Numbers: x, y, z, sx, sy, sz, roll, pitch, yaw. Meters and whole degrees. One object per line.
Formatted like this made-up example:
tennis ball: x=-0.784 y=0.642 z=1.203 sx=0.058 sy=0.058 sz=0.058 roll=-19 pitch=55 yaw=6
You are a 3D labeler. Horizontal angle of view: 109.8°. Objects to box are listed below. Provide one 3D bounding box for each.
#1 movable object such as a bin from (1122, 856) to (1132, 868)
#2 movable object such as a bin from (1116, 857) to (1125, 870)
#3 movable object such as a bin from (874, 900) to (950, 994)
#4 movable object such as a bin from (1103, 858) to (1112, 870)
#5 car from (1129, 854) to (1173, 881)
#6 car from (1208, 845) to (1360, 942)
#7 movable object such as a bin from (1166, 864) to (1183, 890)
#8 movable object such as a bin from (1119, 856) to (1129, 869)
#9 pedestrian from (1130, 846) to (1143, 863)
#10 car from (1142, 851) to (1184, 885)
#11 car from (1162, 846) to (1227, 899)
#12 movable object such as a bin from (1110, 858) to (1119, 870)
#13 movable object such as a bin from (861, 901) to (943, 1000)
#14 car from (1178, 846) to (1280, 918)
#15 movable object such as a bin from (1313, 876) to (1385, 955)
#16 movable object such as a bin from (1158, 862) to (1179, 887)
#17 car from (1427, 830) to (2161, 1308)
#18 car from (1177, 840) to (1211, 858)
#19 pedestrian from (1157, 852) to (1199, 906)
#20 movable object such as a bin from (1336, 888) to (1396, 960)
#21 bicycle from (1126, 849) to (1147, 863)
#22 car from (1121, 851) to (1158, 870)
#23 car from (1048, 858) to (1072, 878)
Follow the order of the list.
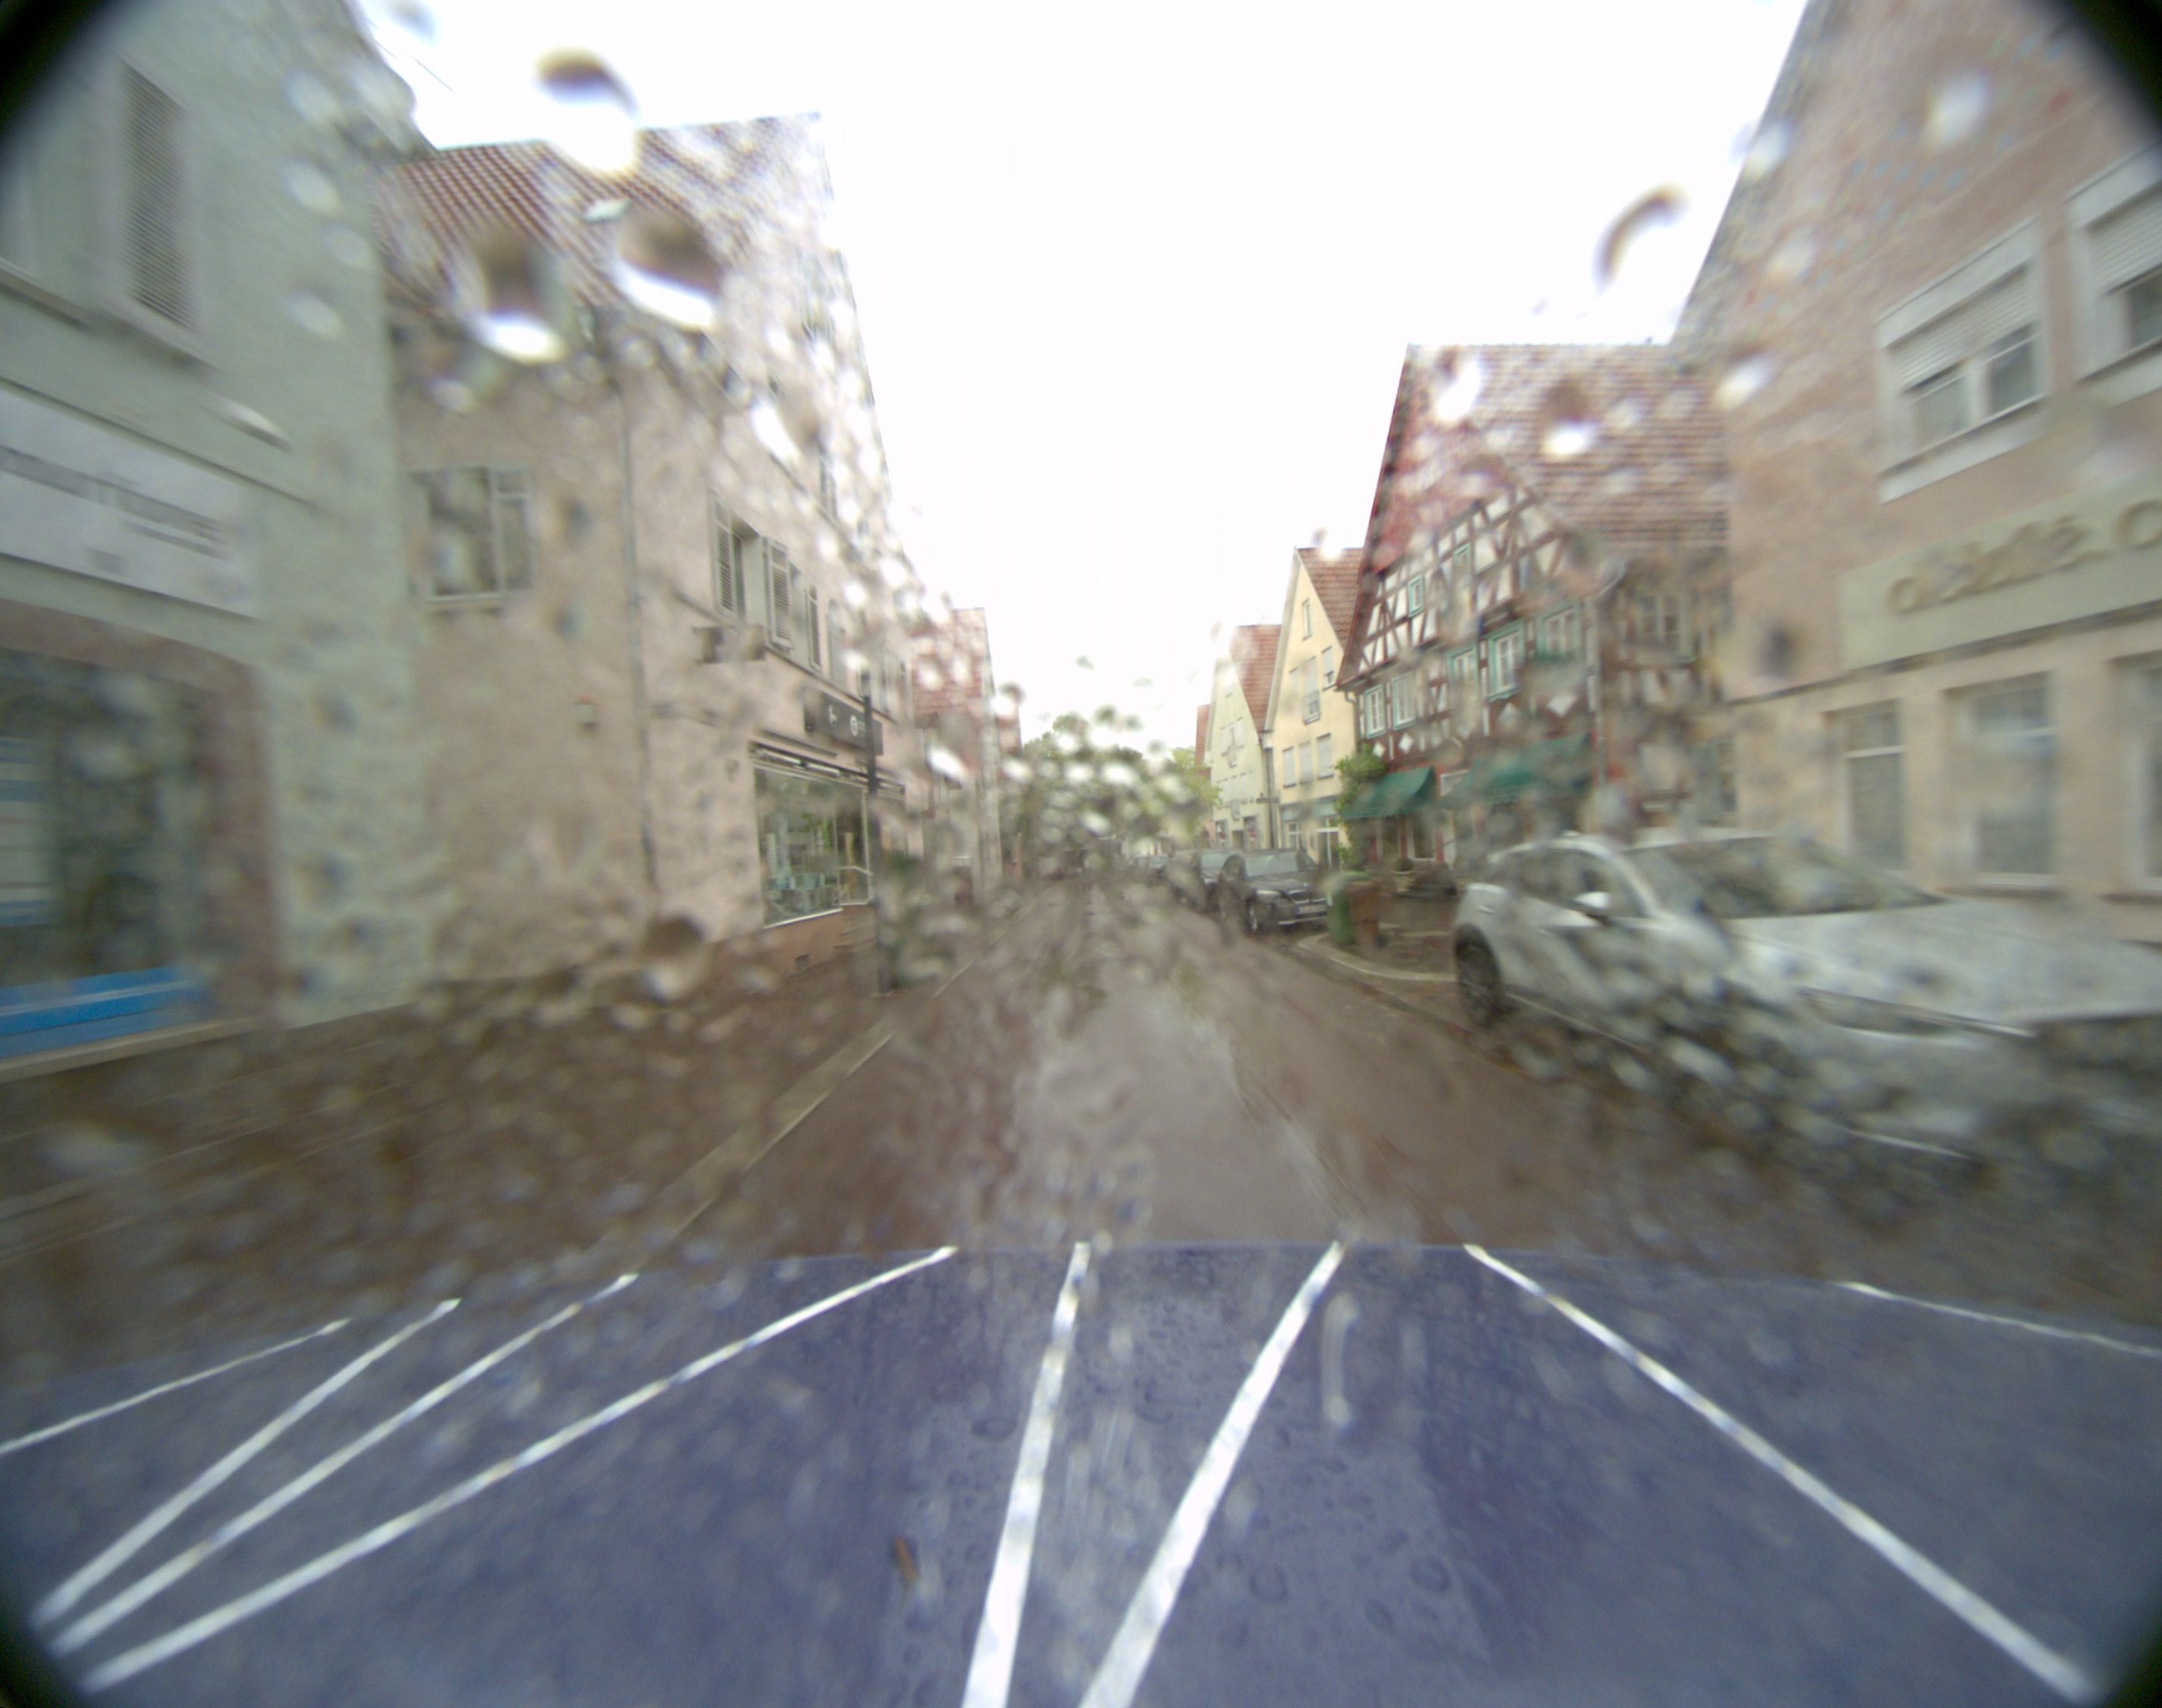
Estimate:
movable object such as a bin: x=4.303 y=0.732 z=71.055 sx=0.726 sy=1.087 sz=0.611 roll=-4 pitch=2 yaw=25
movable object such as a bin: x=3.672 y=0.894 z=70.820 sx=0.538 sy=1.136 sz=0.729 roll=-1 pitch=1 yaw=31
movable object such as a bin: x=-2.161 y=1.181 z=9.794 sx=0.795 sy=1.074 sz=0.615 roll=-3 pitch=2 yaw=-2
movable object such as a bin: x=2.502 y=0.958 z=71.626 sx=0.538 sy=1.077 sz=0.729 roll=-1 pitch=1 yaw=31
car: x=4.146 y=0.783 z=45.595 sx=1.867 sy=1.433 sz=4.618 roll=-4 pitch=0 yaw=-3
car: x=3.875 y=0.716 z=15.333 sx=1.784 sy=1.529 sz=4.290 roll=-5 pitch=-1 yaw=0
movable object such as a bin: x=3.973 y=0.969 z=32.396 sx=0.553 sy=1.040 sz=0.534 roll=-4 pitch=2 yaw=-3
movable object such as a bin: x=3.977 y=0.773 z=70.458 sx=0.726 sy=1.077 sz=0.605 roll=-4 pitch=2 yaw=25
pedestrian: x=5.634 y=0.020 z=76.556 sx=0.910 sy=1.689 sz=0.863 roll=0 pitch=4 yaw=44
car: x=4.268 y=0.701 z=40.074 sx=1.866 sy=1.515 sz=4.328 roll=-5 pitch=0 yaw=3
car: x=4.186 y=0.618 z=28.662 sx=1.828 sy=1.657 sz=4.642 roll=-4 pitch=2 yaw=3
movable object such as a bin: x=3.128 y=0.914 z=71.143 sx=0.538 sy=1.124 sz=0.729 roll=-1 pitch=1 yaw=31
movable object such as a bin: x=-2.145 y=1.146 z=9.179 sx=0.798 sy=1.074 sz=0.582 roll=-3 pitch=2 yaw=-2
car: x=3.997 y=0.671 z=21.294 sx=1.829 sy=1.656 sz=4.642 roll=-4 pitch=1 yaw=0
movable object such as a bin: x=4.034 y=0.917 z=11.472 sx=0.771 sy=1.076 sz=0.675 roll=-4 pitch=2 yaw=-4
movable object such as a bin: x=3.989 y=0.928 z=34.698 sx=0.748 sy=1.077 sz=0.744 roll=-4 pitch=2 yaw=-2
car: x=3.883 y=0.749 z=4.648 sx=1.696 sy=1.529 sz=4.122 roll=-5 pitch=-1 yaw=3
car: x=12.445 y=-0.567 z=83.361 sx=1.789 sy=1.630 sz=4.447 roll=-3 pitch=2 yaw=35
pedestrian: x=3.239 y=0.818 z=25.480 sx=1.176 sy=1.672 sz=0.790 roll=-4 pitch=2 yaw=-1
movable object such as a bin: x=4.071 y=0.987 z=10.869 sx=0.610 sy=0.933 sz=0.499 roll=-5 pitch=2 yaw=-3
bicycle: x=5.610 y=0.186 z=76.541 sx=0.925 sy=1.343 sz=2.220 roll=0 pitch=2 yaw=44
car: x=5.706 y=0.606 z=73.455 sx=1.788 sy=1.546 sz=3.956 roll=-2 pitch=1 yaw=34
car: x=-1.722 y=1.170 z=64.017 sx=1.784 sy=1.529 sz=4.290 roll=-5 pitch=-1 yaw=0
